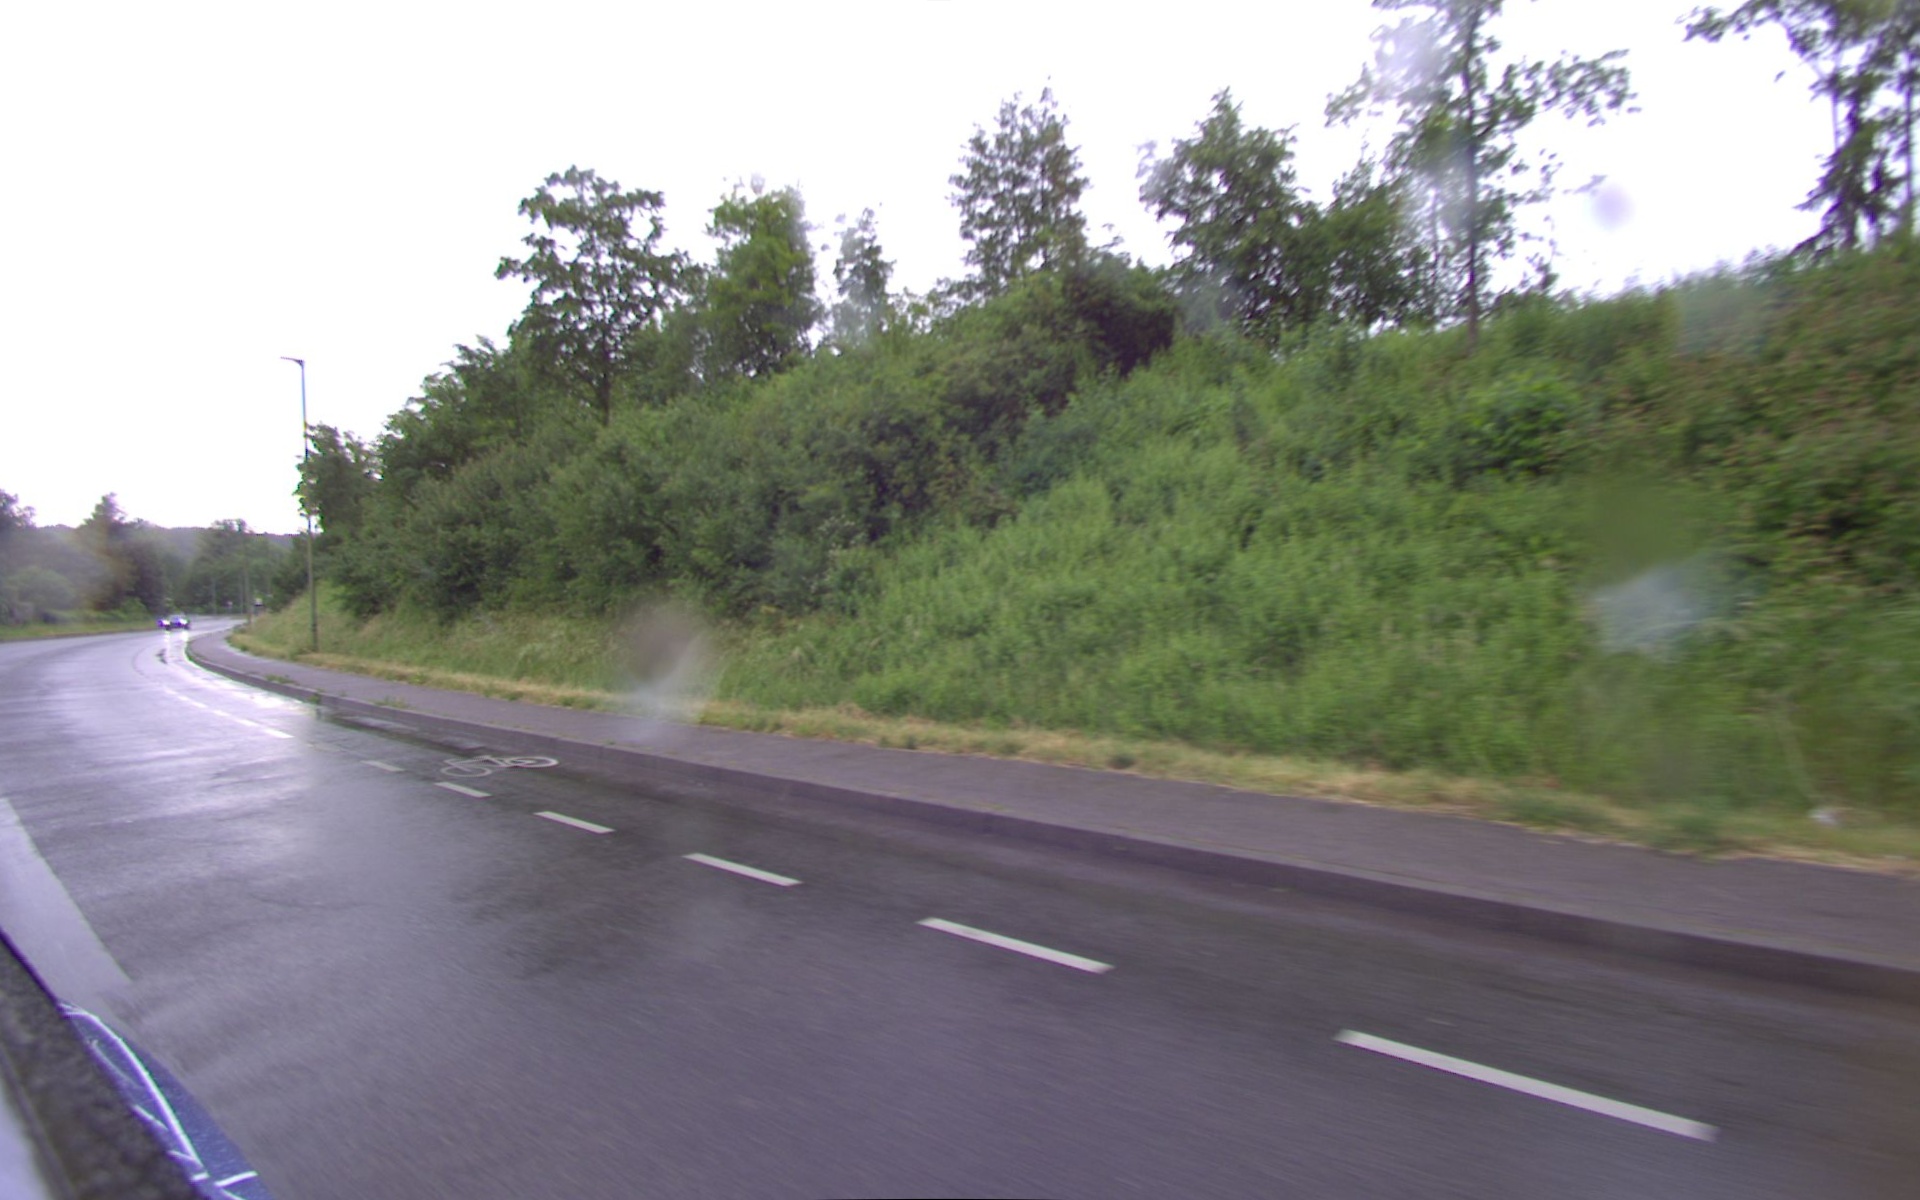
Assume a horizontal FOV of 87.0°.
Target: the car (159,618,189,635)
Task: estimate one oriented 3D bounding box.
[{"bbox_3d":[-77.340,2.636,99.652,1.849,1.618,4.012,0,-1,-31],"label":"car"}]
